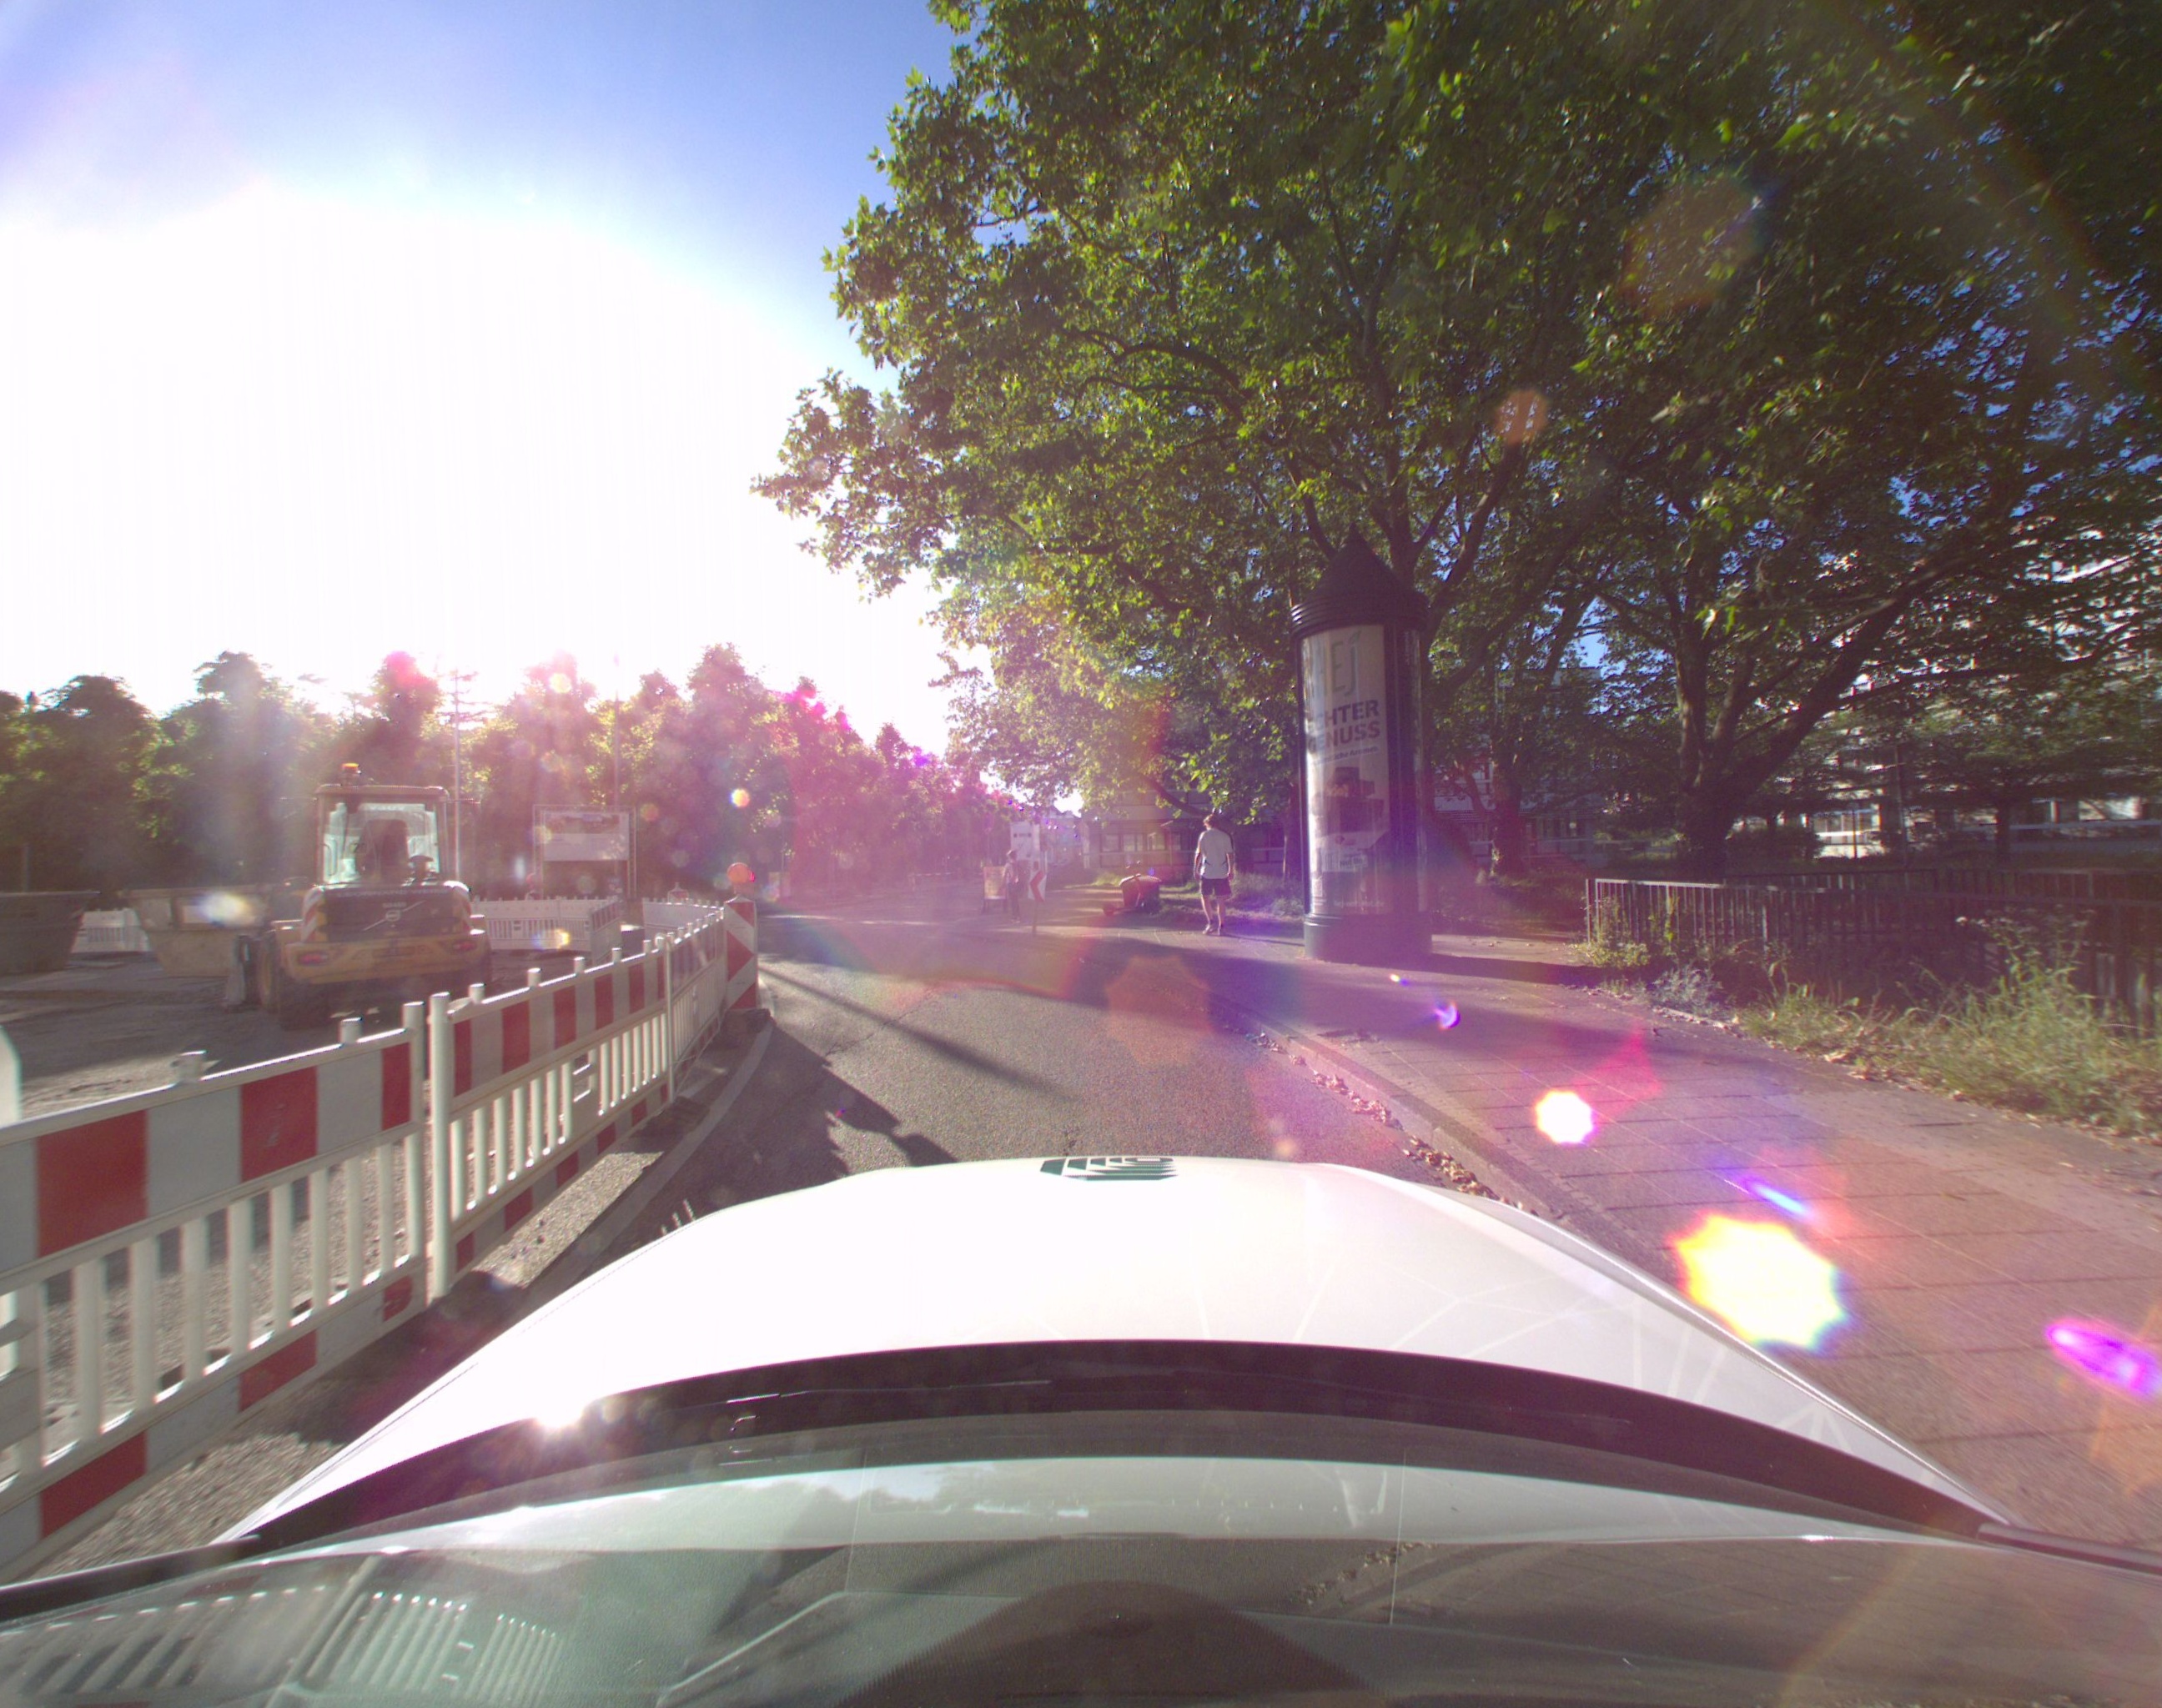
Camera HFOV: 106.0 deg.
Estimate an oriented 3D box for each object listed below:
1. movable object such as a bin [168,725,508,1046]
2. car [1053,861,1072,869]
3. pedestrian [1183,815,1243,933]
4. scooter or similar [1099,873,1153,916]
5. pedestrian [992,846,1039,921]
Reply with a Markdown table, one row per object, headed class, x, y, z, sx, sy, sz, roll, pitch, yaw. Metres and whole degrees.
| class | x | y | z | sx | sy | sz | roll | pitch | yaw |
| --- | --- | --- | --- | --- | --- | --- | --- | --- | --- |
| movable object such as a bin | -9.714 | 0.364 | 10.707 | 2.582 | 3.031 | 5.857 | -2 | -1 | -44 |
| car | -4.621 | 2.821 | 205.951 | 4.542 | 1.791 | 2.000 | -1 | 0 | 0 |
| pedestrian | 2.120 | 0.313 | 13.185 | 0.743 | 1.813 | 1.132 | 0 | -1 | -3 |
| scooter or similar | 1.033 | 0.940 | 18.829 | 1.145 | 0.914 | 0.418 | -3 | -2 | -6 |
| pedestrian | -1.482 | 0.658 | 18.321 | 0.712 | 1.623 | 0.930 | -1 | -1 | -30 |
